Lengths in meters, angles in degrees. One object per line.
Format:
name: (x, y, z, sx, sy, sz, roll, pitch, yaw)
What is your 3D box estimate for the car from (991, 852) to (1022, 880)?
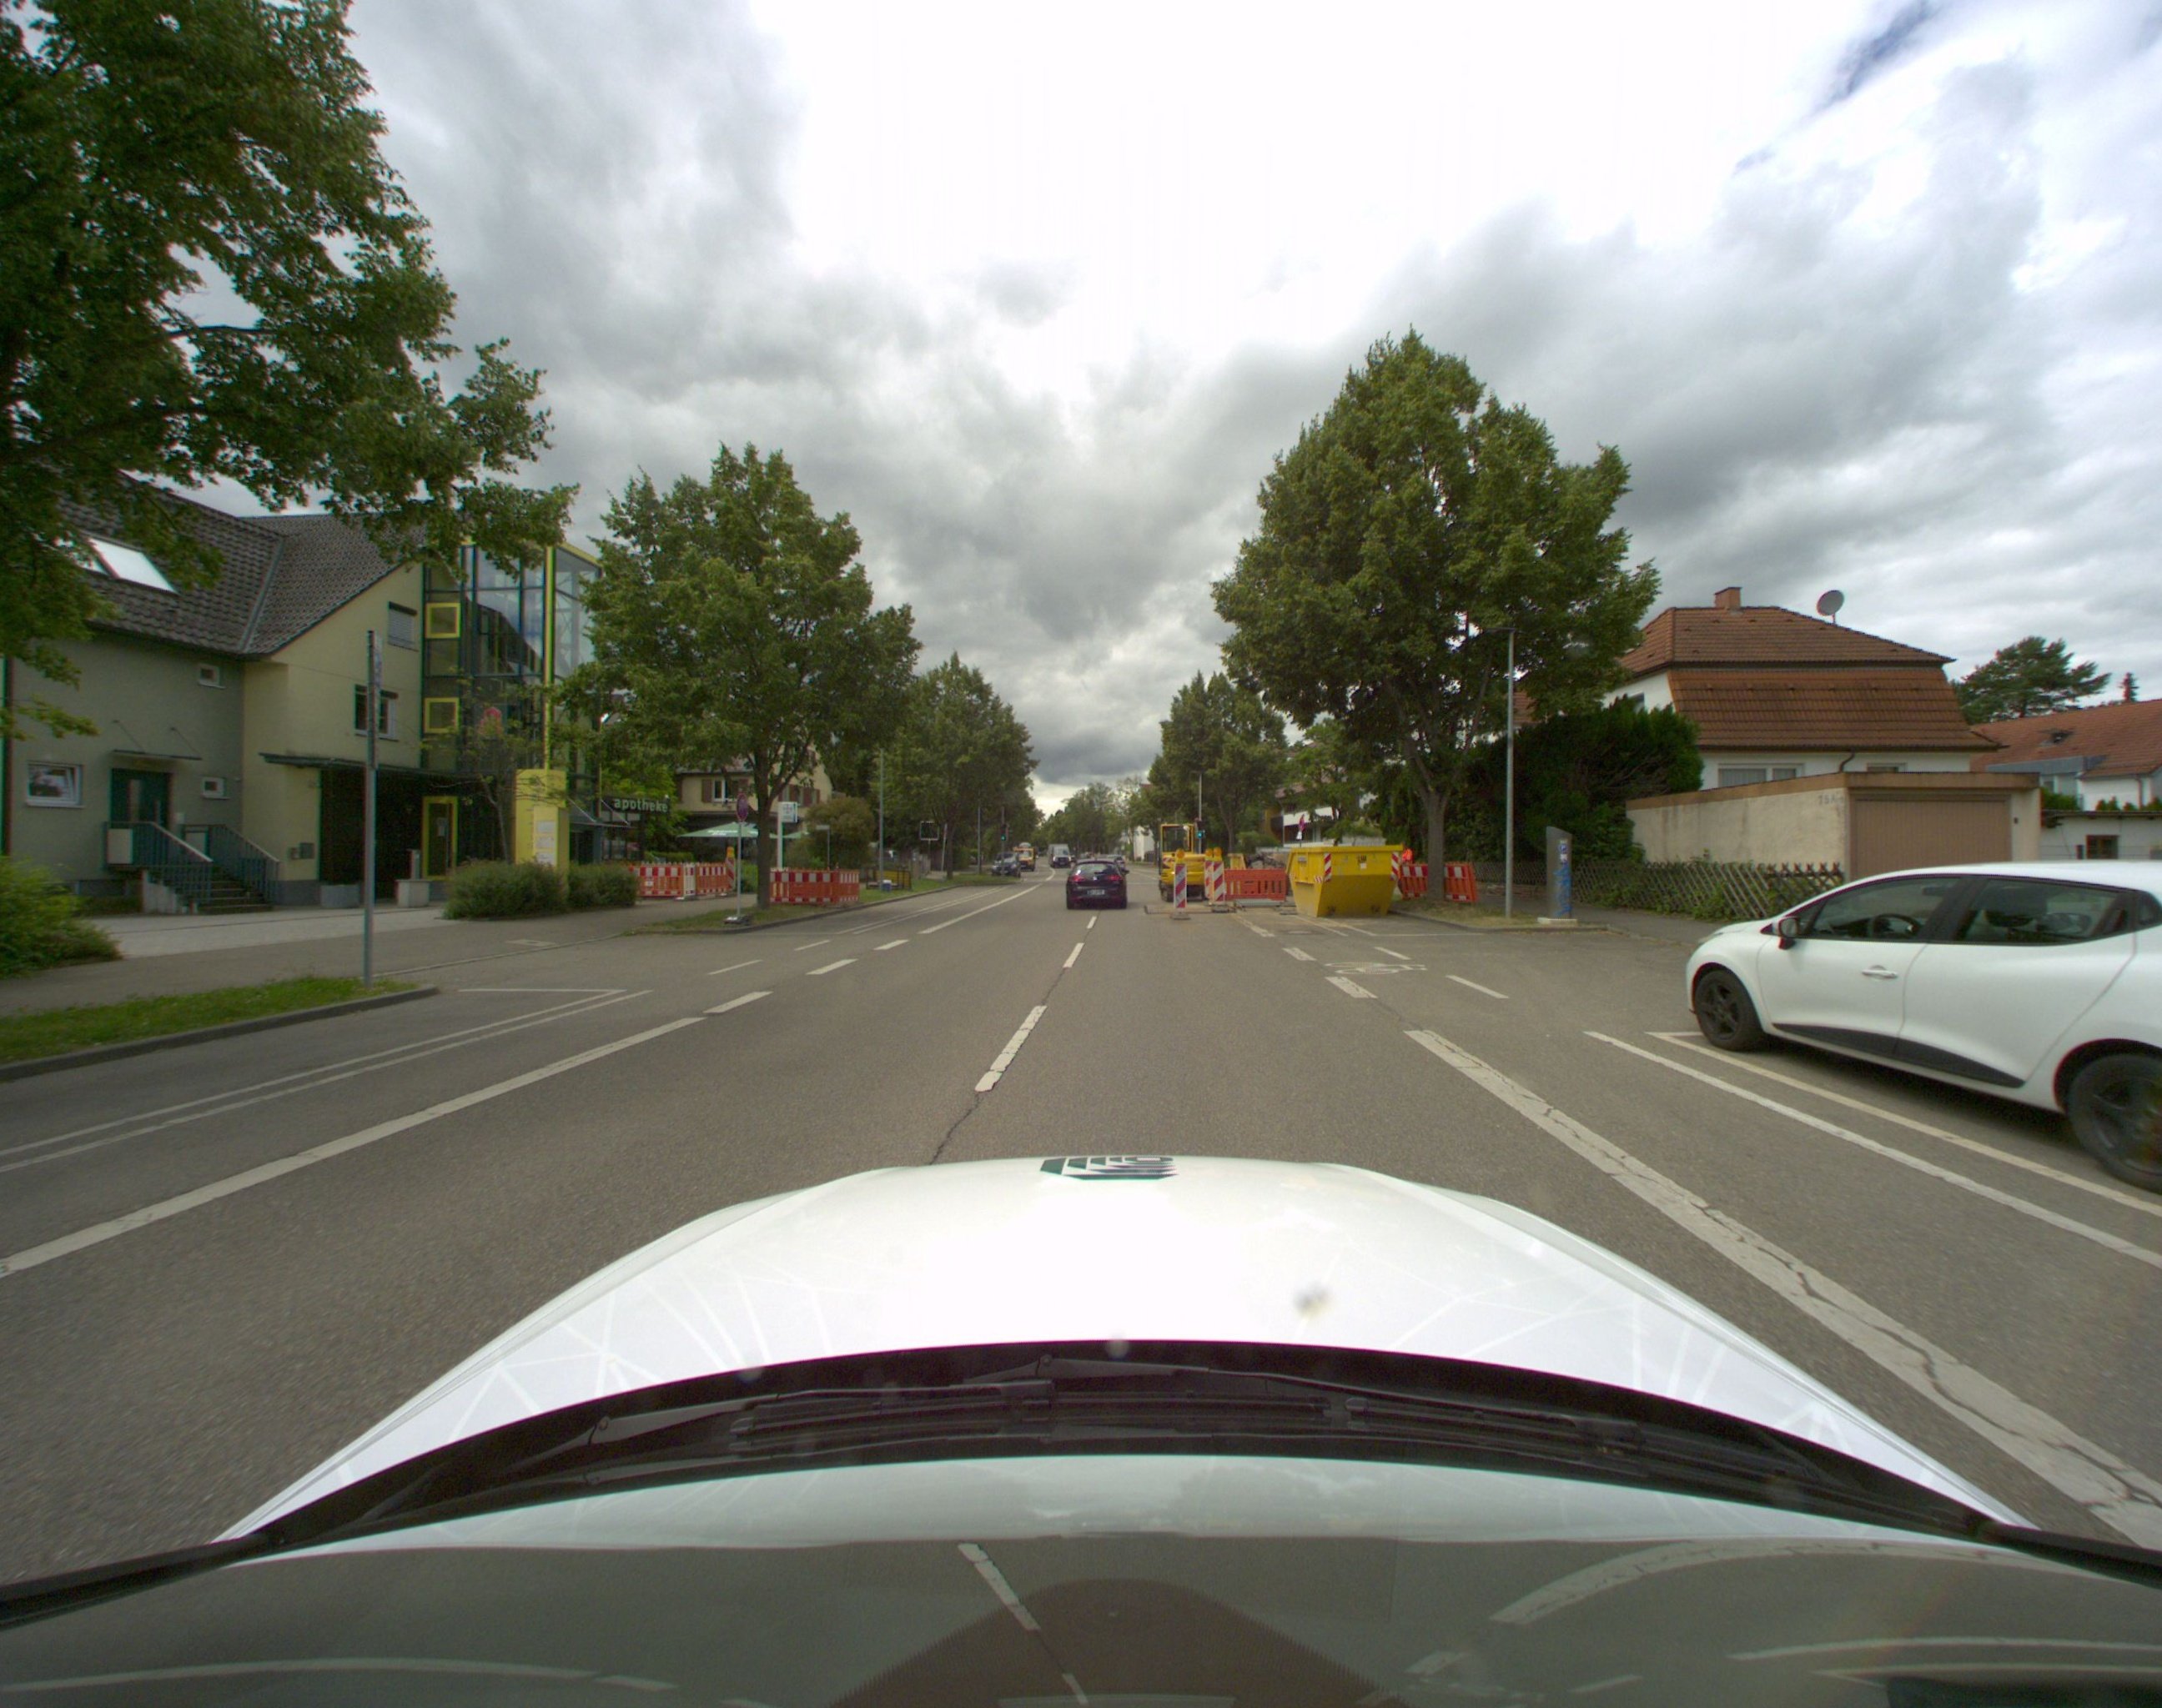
car: (-5.044, 0.769, 55.475, 1.662, 1.772, 4.466, -2, 0, -1)

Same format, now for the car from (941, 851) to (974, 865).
car: (-14.901, 0.477, 98.287, 3.672, 1.594, 1.678, -1, 0, -2)

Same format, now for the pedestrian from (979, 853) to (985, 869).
pedestrian: (-10.738, 0.761, 88.436, 0.594, 1.741, 0.574, -1, 0, -2)

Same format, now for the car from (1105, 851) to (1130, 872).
car: (3.048, 0.611, 68.564, 1.900, 1.685, 3.738, -1, 0, -1)

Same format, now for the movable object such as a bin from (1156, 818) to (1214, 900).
movable object such as a bin: (3.443, 0.148, 27.444, 1.760, 2.574, 3.745, 0, 0, 5)

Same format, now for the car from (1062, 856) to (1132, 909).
car: (0.562, 0.792, 24.493, 1.810, 1.437, 3.745, -1, 0, 5)

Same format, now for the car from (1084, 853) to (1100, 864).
car: (1.520, 0.602, 109.560, 1.807, 1.415, 3.687, -1, 0, -4)

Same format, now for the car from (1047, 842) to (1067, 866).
car: (-2.888, 0.022, 99.176, 2.281, 2.792, 7.141, -2, 0, -1)

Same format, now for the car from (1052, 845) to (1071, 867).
car: (-2.162, 0.216, 92.980, 2.023, 2.385, 5.260, -2, 0, -1)

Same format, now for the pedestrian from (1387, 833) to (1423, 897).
pedestrian: (8.493, 0.288, 21.370, 0.701, 1.634, 0.644, -1, 0, 4)

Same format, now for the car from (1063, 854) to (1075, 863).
car: (-1.909, 0.763, 130.833, 1.806, 1.375, 3.689, -1, 0, -3)

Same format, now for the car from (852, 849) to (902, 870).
car: (-18.389, 0.511, 73.423, 3.966, 1.769, 1.749, -1, -1, 6)

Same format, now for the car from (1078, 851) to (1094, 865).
car: (0.605, 0.517, 98.827, 1.787, 1.623, 3.735, -1, 0, -3)

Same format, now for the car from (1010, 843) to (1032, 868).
car: (-6.490, 0.144, 88.075, 2.086, 2.626, 5.042, -1, 0, -1)

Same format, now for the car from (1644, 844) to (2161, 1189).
car: (5.560, 0.687, 4.993, 1.664, 1.462, 4.005, -1, 0, 4)

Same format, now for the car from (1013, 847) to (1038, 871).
car: (-5.264, 0.477, 77.157, 2.086, 2.175, 5.042, -1, 0, -1)
